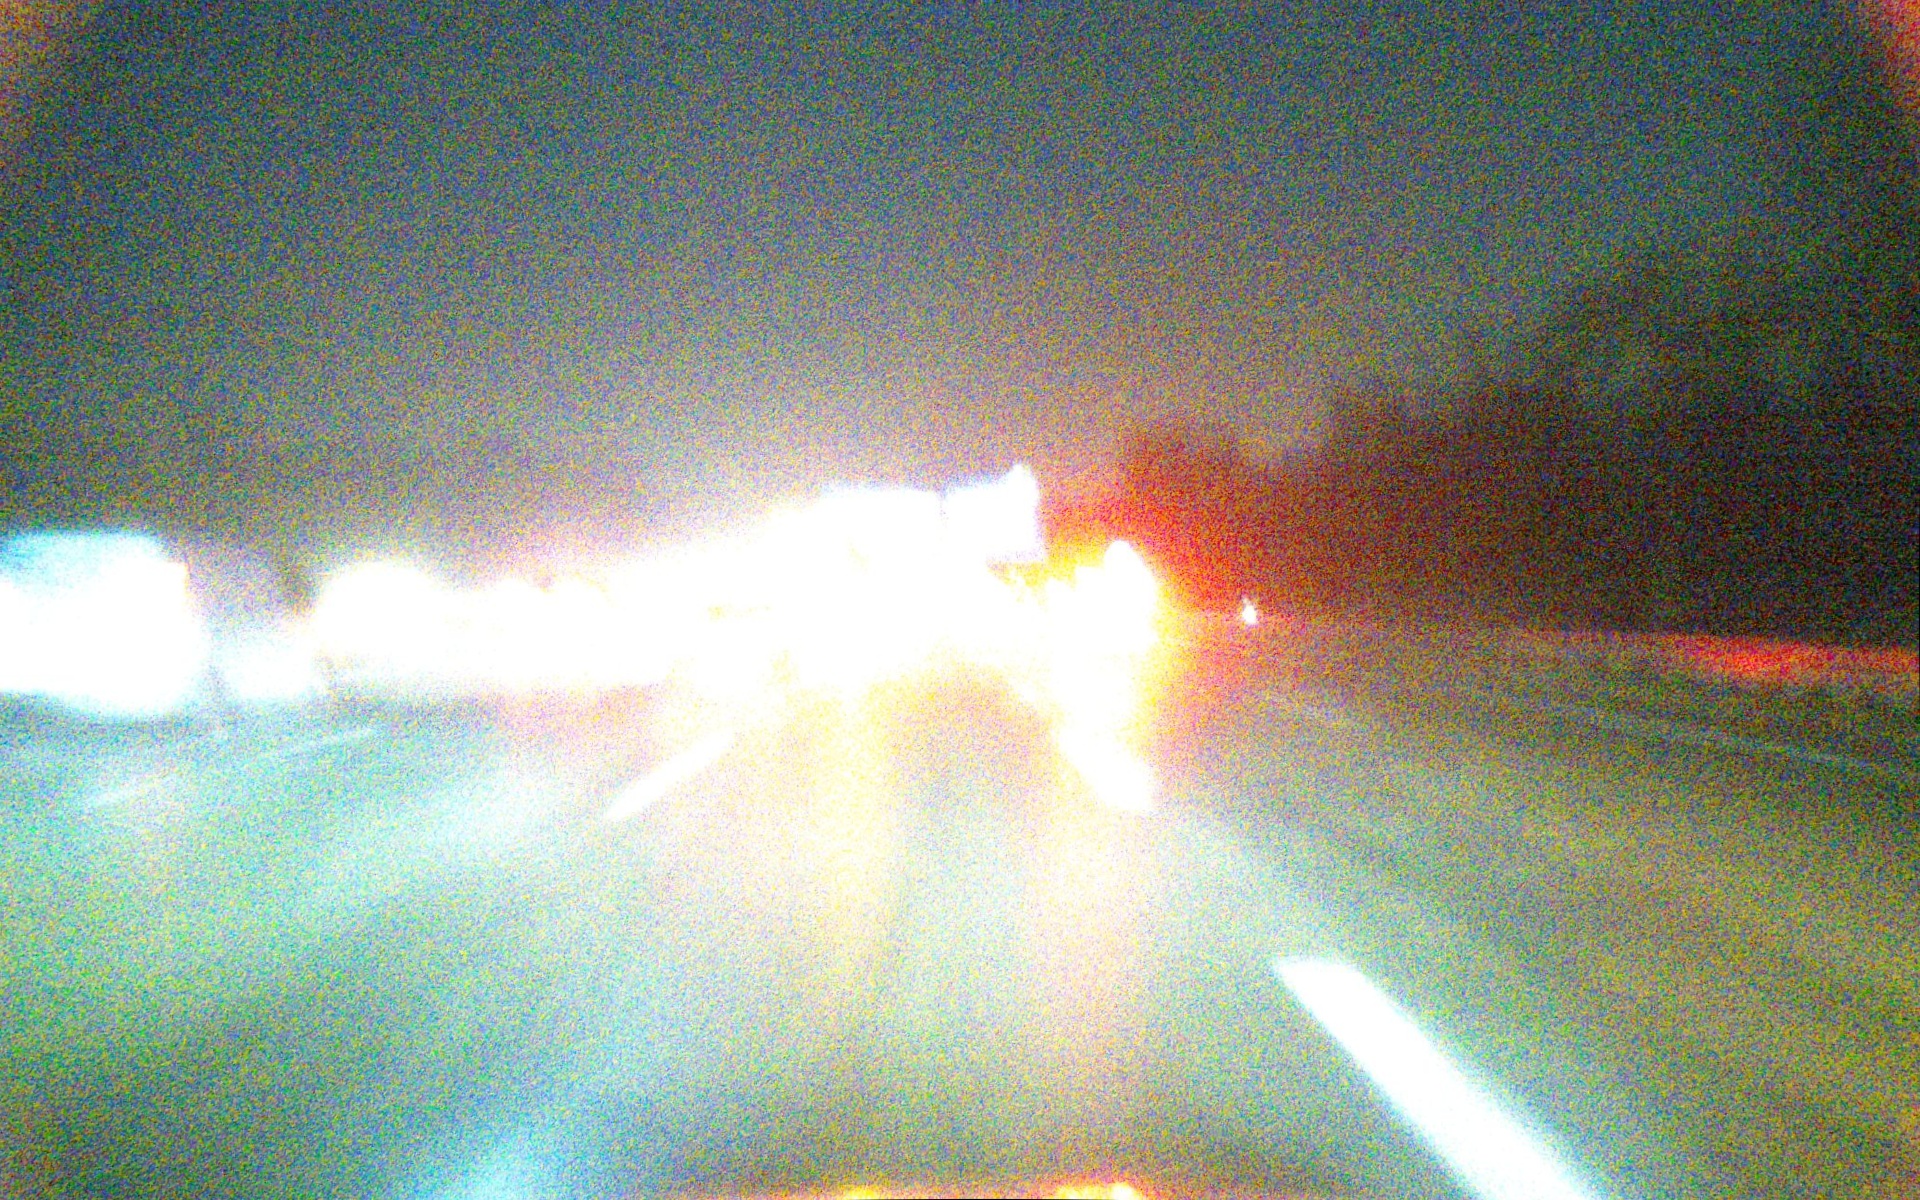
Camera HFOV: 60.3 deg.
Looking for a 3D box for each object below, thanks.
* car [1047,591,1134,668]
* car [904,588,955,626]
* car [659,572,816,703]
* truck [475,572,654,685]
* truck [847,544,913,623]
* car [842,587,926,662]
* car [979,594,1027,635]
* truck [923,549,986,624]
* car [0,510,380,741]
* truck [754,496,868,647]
[{"bbox_3d":[3.232,0.716,41.610,1.839,1.793,4.000,1,0,0],"label":"car"},{"bbox_3d":[-1.716,0.385,94.504,2.775,2.049,5.509,1,0,0],"label":"car"},{"bbox_3d":[-3.141,0.477,24.071,1.729,1.718,4.000,1,1,0],"label":"car"},{"bbox_3d":[-8.569,0.586,36.486,2.800,2.239,5.854,1,0,-3],"label":"truck"},{"bbox_3d":[-5.850,-1.147,122.931,4.166,5.539,10.885,1,0,1],"label":"truck"},{"bbox_3d":[-1.909,0.600,42.767,1.997,1.792,4.514,1,0,-1],"label":"car"},{"bbox_3d":[1.906,0.633,73.876,1.953,1.733,4.457,1,0,-1],"label":"car"},{"bbox_3d":[-0.492,-0.970,123.108,4.079,5.306,9.947,1,0,-3],"label":"truck"},{"bbox_3d":[-8.419,0.234,18.302,2.080,2.141,5.628,1,0,-1],"label":"car"},{"bbox_3d":[-5.217,-0.907,58.340,3.585,4.820,9.842,1,0,-5],"label":"truck"}]
